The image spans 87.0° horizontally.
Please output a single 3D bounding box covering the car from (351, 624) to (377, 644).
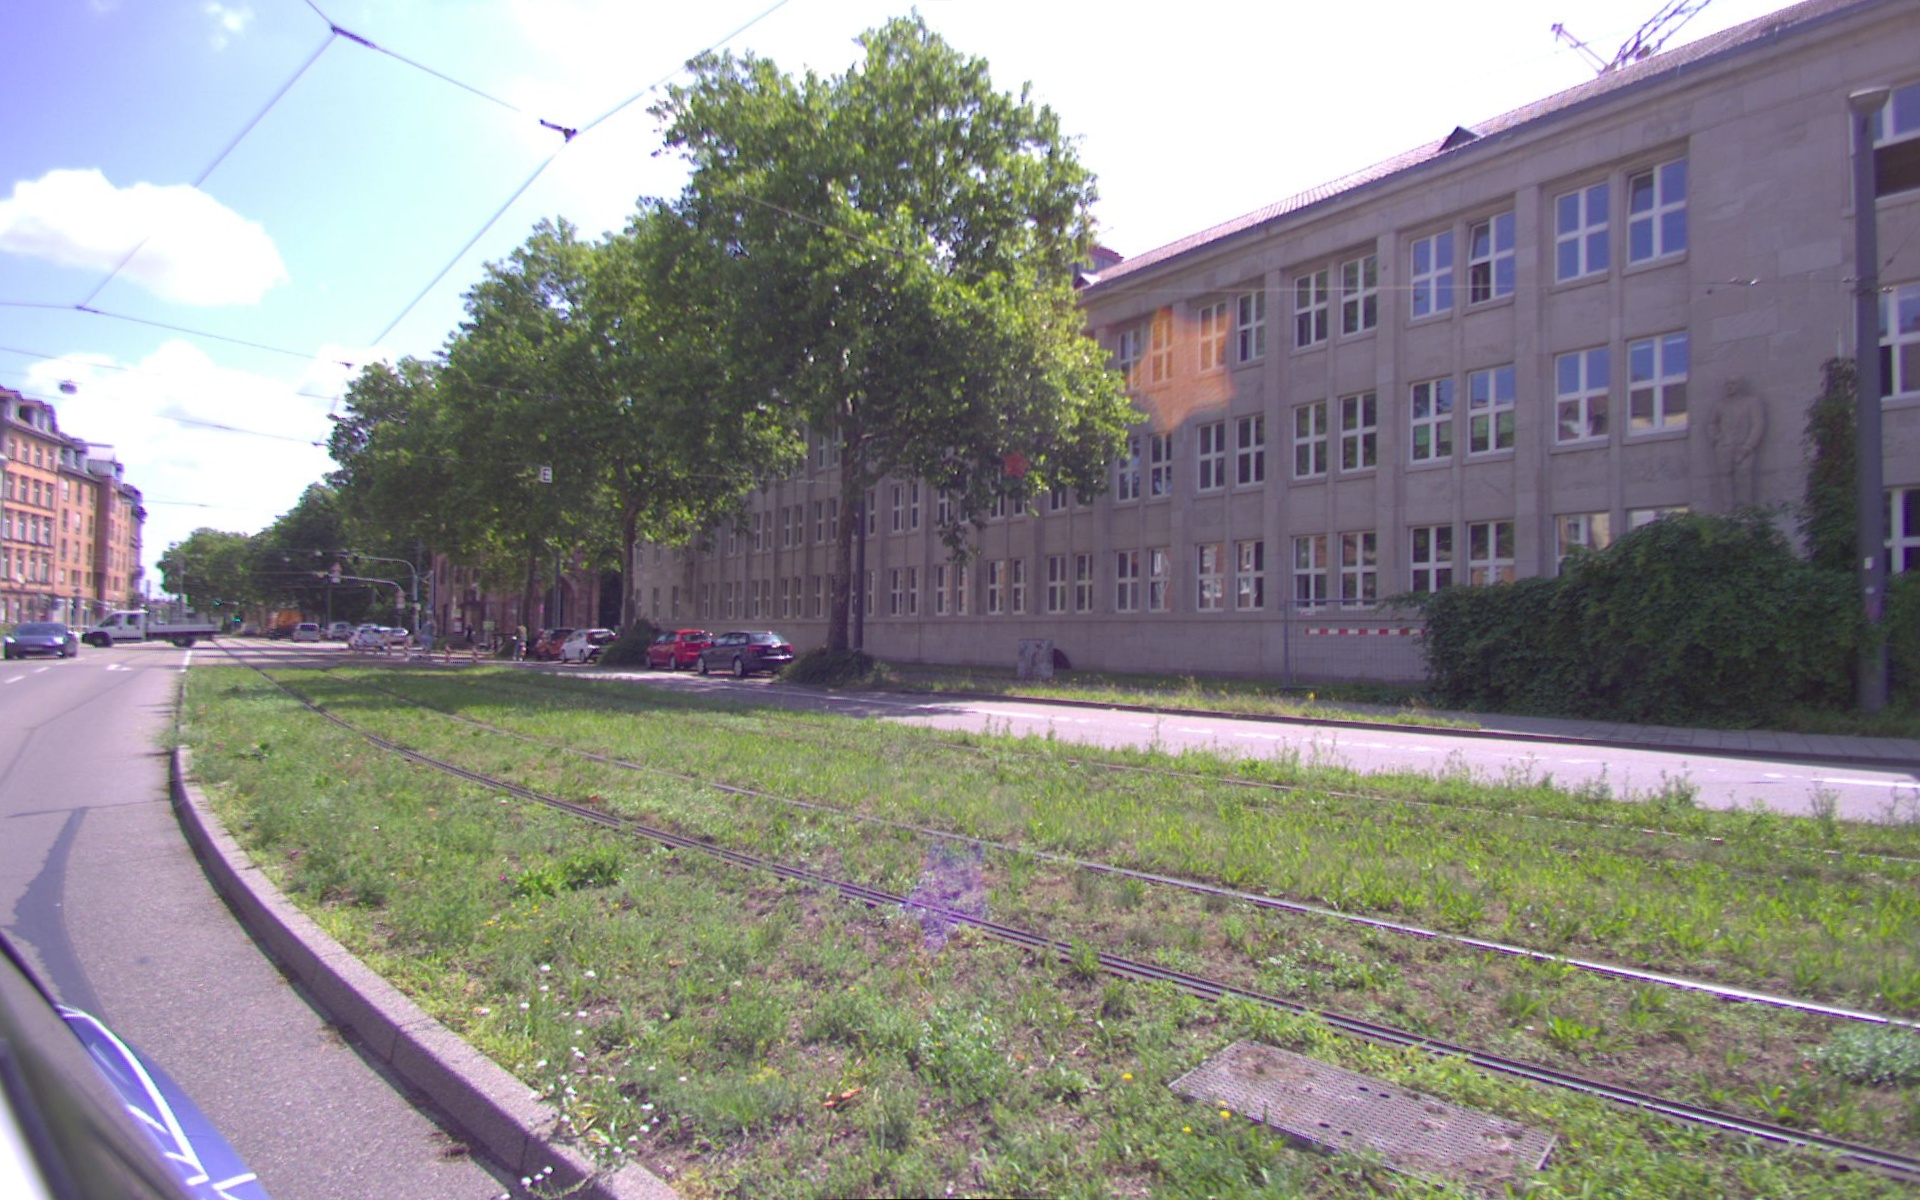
[{"bbox_3d":[-57.792,3.294,98.082,1.734,1.850,4.009,1,-1,-37],"label":"car"}]

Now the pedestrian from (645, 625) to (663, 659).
[{"bbox_3d":[-14.642,1.998,48.383,0.546,1.603,0.797,1,-2,-38],"label":"pedestrian"}]

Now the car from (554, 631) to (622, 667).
[{"bbox_3d":[-16.160,2.090,43.912,1.724,1.465,3.497,1,-2,-39],"label":"car"}]

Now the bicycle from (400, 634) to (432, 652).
[{"bbox_3d":[-41.596,3.262,77.436,2.056,1.300,0.673,0,-1,-40],"label":"bicycle"}]

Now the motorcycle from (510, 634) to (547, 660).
[{"bbox_3d":[-22.094,2.406,51.848,0.539,1.185,2.098,-4,0,14],"label":"motorcycle"}]

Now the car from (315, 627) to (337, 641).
[{"bbox_3d":[-73.423,3.918,117.175,1.734,1.508,4.009,1,-1,-37],"label":"car"}]

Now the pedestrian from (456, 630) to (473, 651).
[{"bbox_3d":[-30.191,2.447,61.688,0.745,1.221,0.915,-4,1,-36],"label":"pedestrian"}]

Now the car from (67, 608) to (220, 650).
[{"bbox_3d":[-49.722,1.801,61.866,6.859,2.392,2.270,2,-2,-25],"label":"car"}]

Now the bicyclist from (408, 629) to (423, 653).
[{"bbox_3d":[-41.648,3.133,77.399,0.870,1.798,0.664,0,-1,-38],"label":"bicyclist"}]

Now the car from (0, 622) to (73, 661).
[{"bbox_3d":[-36.005,1.582,39.478,1.885,1.404,4.322,1,-1,-38],"label":"car"}]

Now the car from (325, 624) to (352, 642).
[{"bbox_3d":[-69.642,3.676,113.412,1.963,2.019,4.092,1,-2,-40],"label":"car"}]

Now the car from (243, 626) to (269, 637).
[{"bbox_3d":[-99.044,4.428,142.325,3.992,1.508,1.741,-1,-1,36],"label":"car"}]

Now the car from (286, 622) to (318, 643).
[{"bbox_3d":[-60.615,2.977,93.213,1.896,1.759,4.546,6,-4,-38],"label":"car"}]

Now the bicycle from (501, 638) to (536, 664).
[{"bbox_3d":[-19.980,2.283,45.772,0.781,1.118,2.280,1,-2,-41],"label":"bicycle"}]

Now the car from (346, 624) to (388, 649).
[{"bbox_3d":[-38.432,2.385,65.575,1.737,1.491,3.795,5,-5,-38],"label":"car"}]

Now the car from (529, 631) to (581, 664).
[{"bbox_3d":[-19.112,2.211,47.687,1.468,1.465,2.888,1,-2,-39],"label":"car"}]

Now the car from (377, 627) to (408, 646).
[{"bbox_3d":[-48.177,3.103,85.882,1.734,1.508,4.009,1,-1,-37],"label":"car"}]

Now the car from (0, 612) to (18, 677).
[{"bbox_3d":[-25.381,1.112,25.533,1.846,1.631,4.198,2,-2,-37],"label":"car"}]

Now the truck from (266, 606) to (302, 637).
[{"bbox_3d":[-72.447,2.339,108.437,2.605,3.130,7.238,5,-4,-37],"label":"truck"}]

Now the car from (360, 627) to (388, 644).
[{"bbox_3d":[-53.923,3.215,93.060,1.734,1.508,4.009,1,-1,-37],"label":"car"}]

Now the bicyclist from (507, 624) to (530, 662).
[{"bbox_3d":[-19.981,1.940,45.772,0.752,1.717,0.784,1,-2,-41],"label":"bicyclist"}]

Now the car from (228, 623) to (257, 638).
[{"bbox_3d":[-108.717,4.559,153.283,3.975,2.201,1.748,0,-1,24],"label":"car"}]

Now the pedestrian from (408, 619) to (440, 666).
[{"bbox_3d":[-19.995,1.586,37.772,0.697,1.717,0.778,0,-1,20],"label":"pedestrian"}]

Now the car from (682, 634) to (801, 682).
[{"bbox_3d":[-6.912,1.767,31.729,1.902,1.379,4.325,1,-2,-39],"label":"car"}]

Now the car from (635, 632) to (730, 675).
[{"bbox_3d":[-9.936,1.862,36.057,1.901,1.431,4.058,0,-2,-37],"label":"car"}]
